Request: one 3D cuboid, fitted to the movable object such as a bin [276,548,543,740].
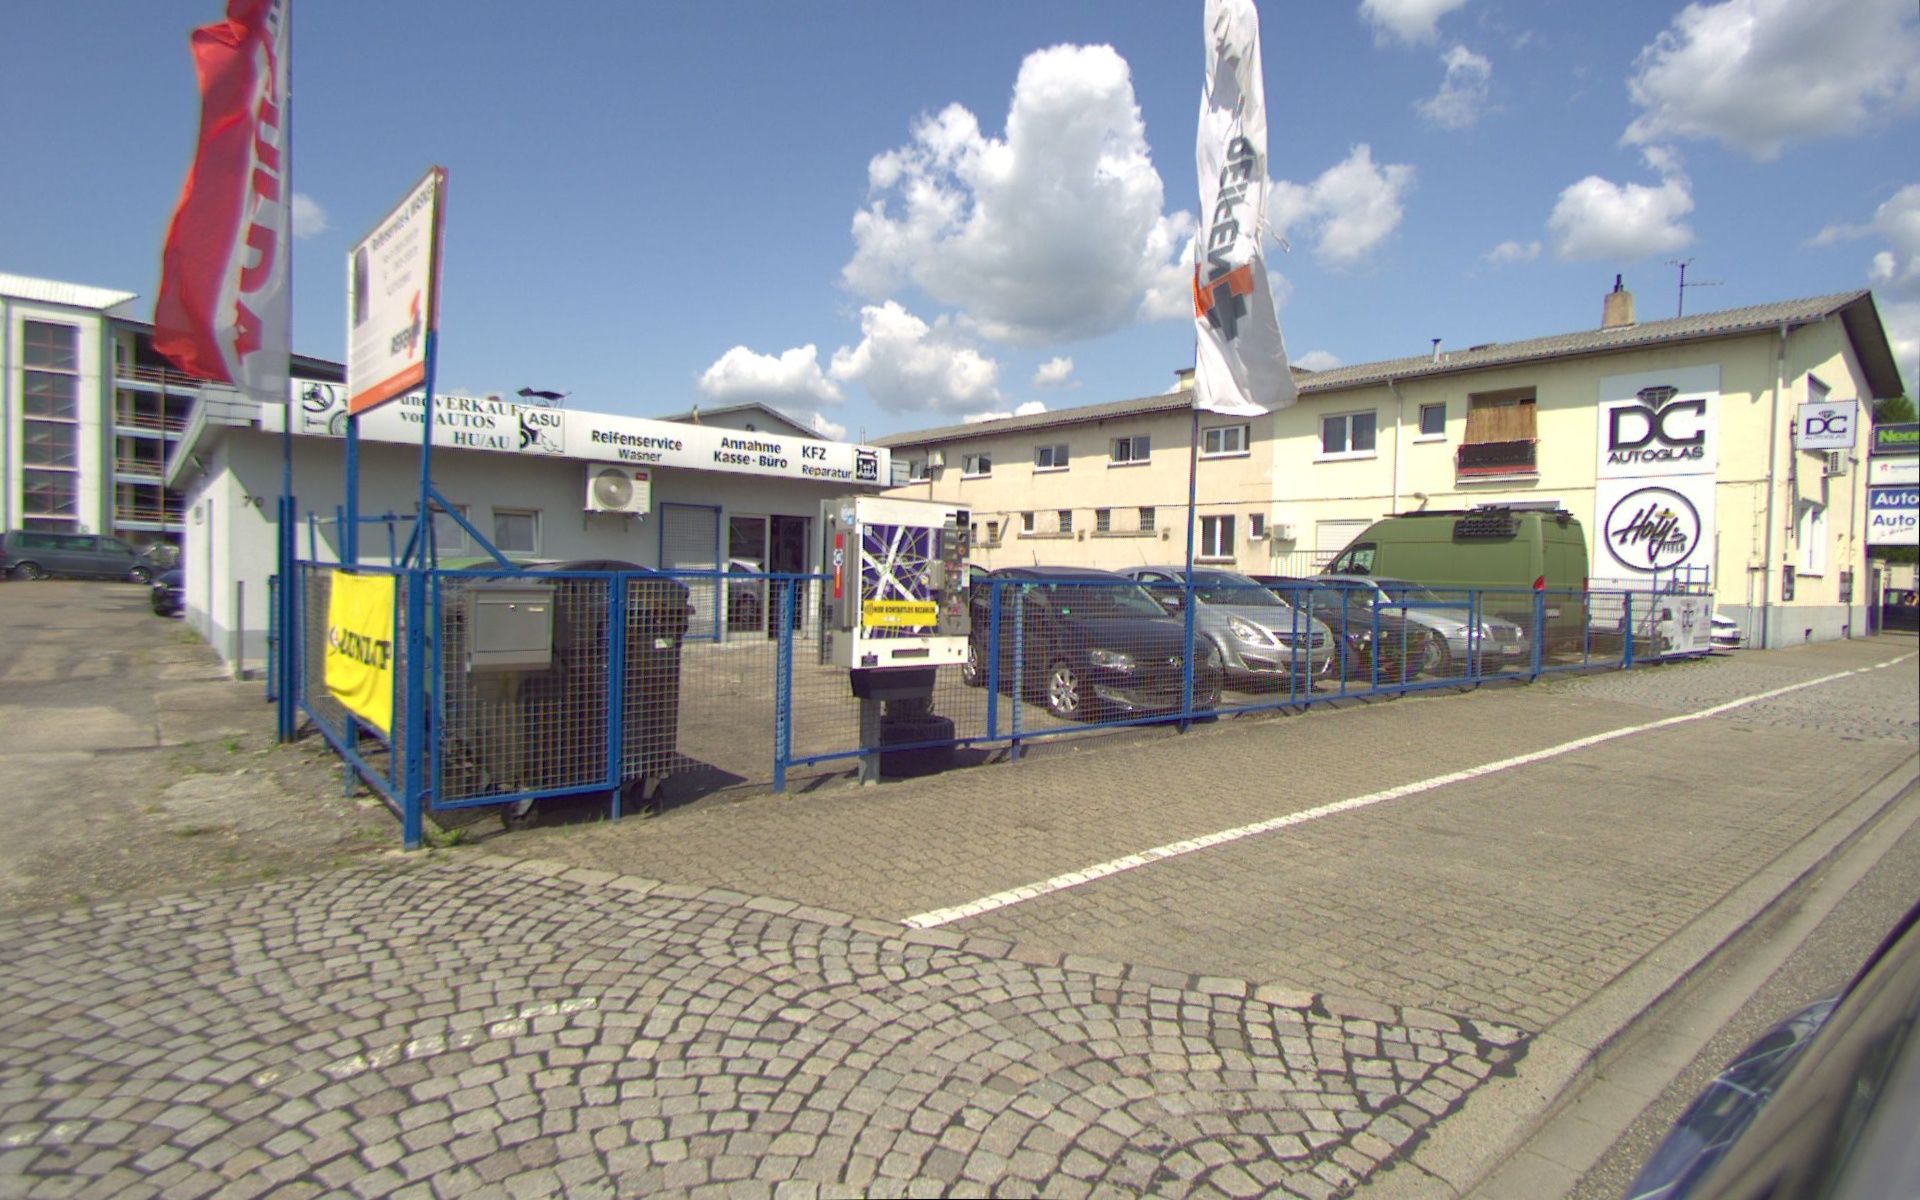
[{"bbox_3d":[-4.733,0.309,8.701,1.735,1.428,1.534,-1,1,-41],"label":"movable object such as a bin"}]

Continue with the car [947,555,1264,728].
[{"bbox_3d":[1.341,0.269,10.969,1.592,1.480,3.919,-1,3,-23],"label":"car"}]

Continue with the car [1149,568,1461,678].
[{"bbox_3d":[4.911,0.241,15.010,1.707,1.391,4.266,-1,1,-33],"label":"car"}]

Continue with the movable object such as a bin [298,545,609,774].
[{"bbox_3d":[-3.742,0.356,7.475,1.735,1.428,1.534,-1,1,-41],"label":"movable object such as a bin"}]

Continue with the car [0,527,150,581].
[{"bbox_3d":[-35.614,-1.799,40.464,4.866,2.039,1.967,-1,1,-45],"label":"car"}]

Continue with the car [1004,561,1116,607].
[{"bbox_3d":[2.987,-0.471,29.926,3.218,1.278,1.452,-1,1,-39],"label":"car"}]

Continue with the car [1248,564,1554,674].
[{"bbox_3d":[6.921,0.233,16.338,1.791,1.526,4.266,-1,1,-32],"label":"car"}]

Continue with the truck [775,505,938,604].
[{"bbox_3d":[-3.352,-1.495,33.506,4.999,3.045,2.158,-1,4,-41],"label":"truck"}]

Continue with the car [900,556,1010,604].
[{"bbox_3d":[-0.139,-0.624,31.566,3.268,1.396,1.425,-1,1,-39],"label":"car"}]

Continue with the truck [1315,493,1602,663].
[{"bbox_3d":[8.889,-0.370,18.331,2.070,2.694,4.181,-1,1,-38],"label":"truck"}]

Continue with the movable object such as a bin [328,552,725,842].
[{"bbox_3d":[-2.635,0.441,6.062,1.679,1.364,1.966,-1,1,-40],"label":"movable object such as a bin"}]

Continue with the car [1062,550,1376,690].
[{"bbox_3d":[3.178,0.189,13.398,1.789,1.524,4.271,-1,1,-23],"label":"car"}]

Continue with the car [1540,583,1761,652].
[{"bbox_3d":[15.005,0.332,22.168,1.490,1.375,3.728,-1,1,-36],"label":"car"}]
